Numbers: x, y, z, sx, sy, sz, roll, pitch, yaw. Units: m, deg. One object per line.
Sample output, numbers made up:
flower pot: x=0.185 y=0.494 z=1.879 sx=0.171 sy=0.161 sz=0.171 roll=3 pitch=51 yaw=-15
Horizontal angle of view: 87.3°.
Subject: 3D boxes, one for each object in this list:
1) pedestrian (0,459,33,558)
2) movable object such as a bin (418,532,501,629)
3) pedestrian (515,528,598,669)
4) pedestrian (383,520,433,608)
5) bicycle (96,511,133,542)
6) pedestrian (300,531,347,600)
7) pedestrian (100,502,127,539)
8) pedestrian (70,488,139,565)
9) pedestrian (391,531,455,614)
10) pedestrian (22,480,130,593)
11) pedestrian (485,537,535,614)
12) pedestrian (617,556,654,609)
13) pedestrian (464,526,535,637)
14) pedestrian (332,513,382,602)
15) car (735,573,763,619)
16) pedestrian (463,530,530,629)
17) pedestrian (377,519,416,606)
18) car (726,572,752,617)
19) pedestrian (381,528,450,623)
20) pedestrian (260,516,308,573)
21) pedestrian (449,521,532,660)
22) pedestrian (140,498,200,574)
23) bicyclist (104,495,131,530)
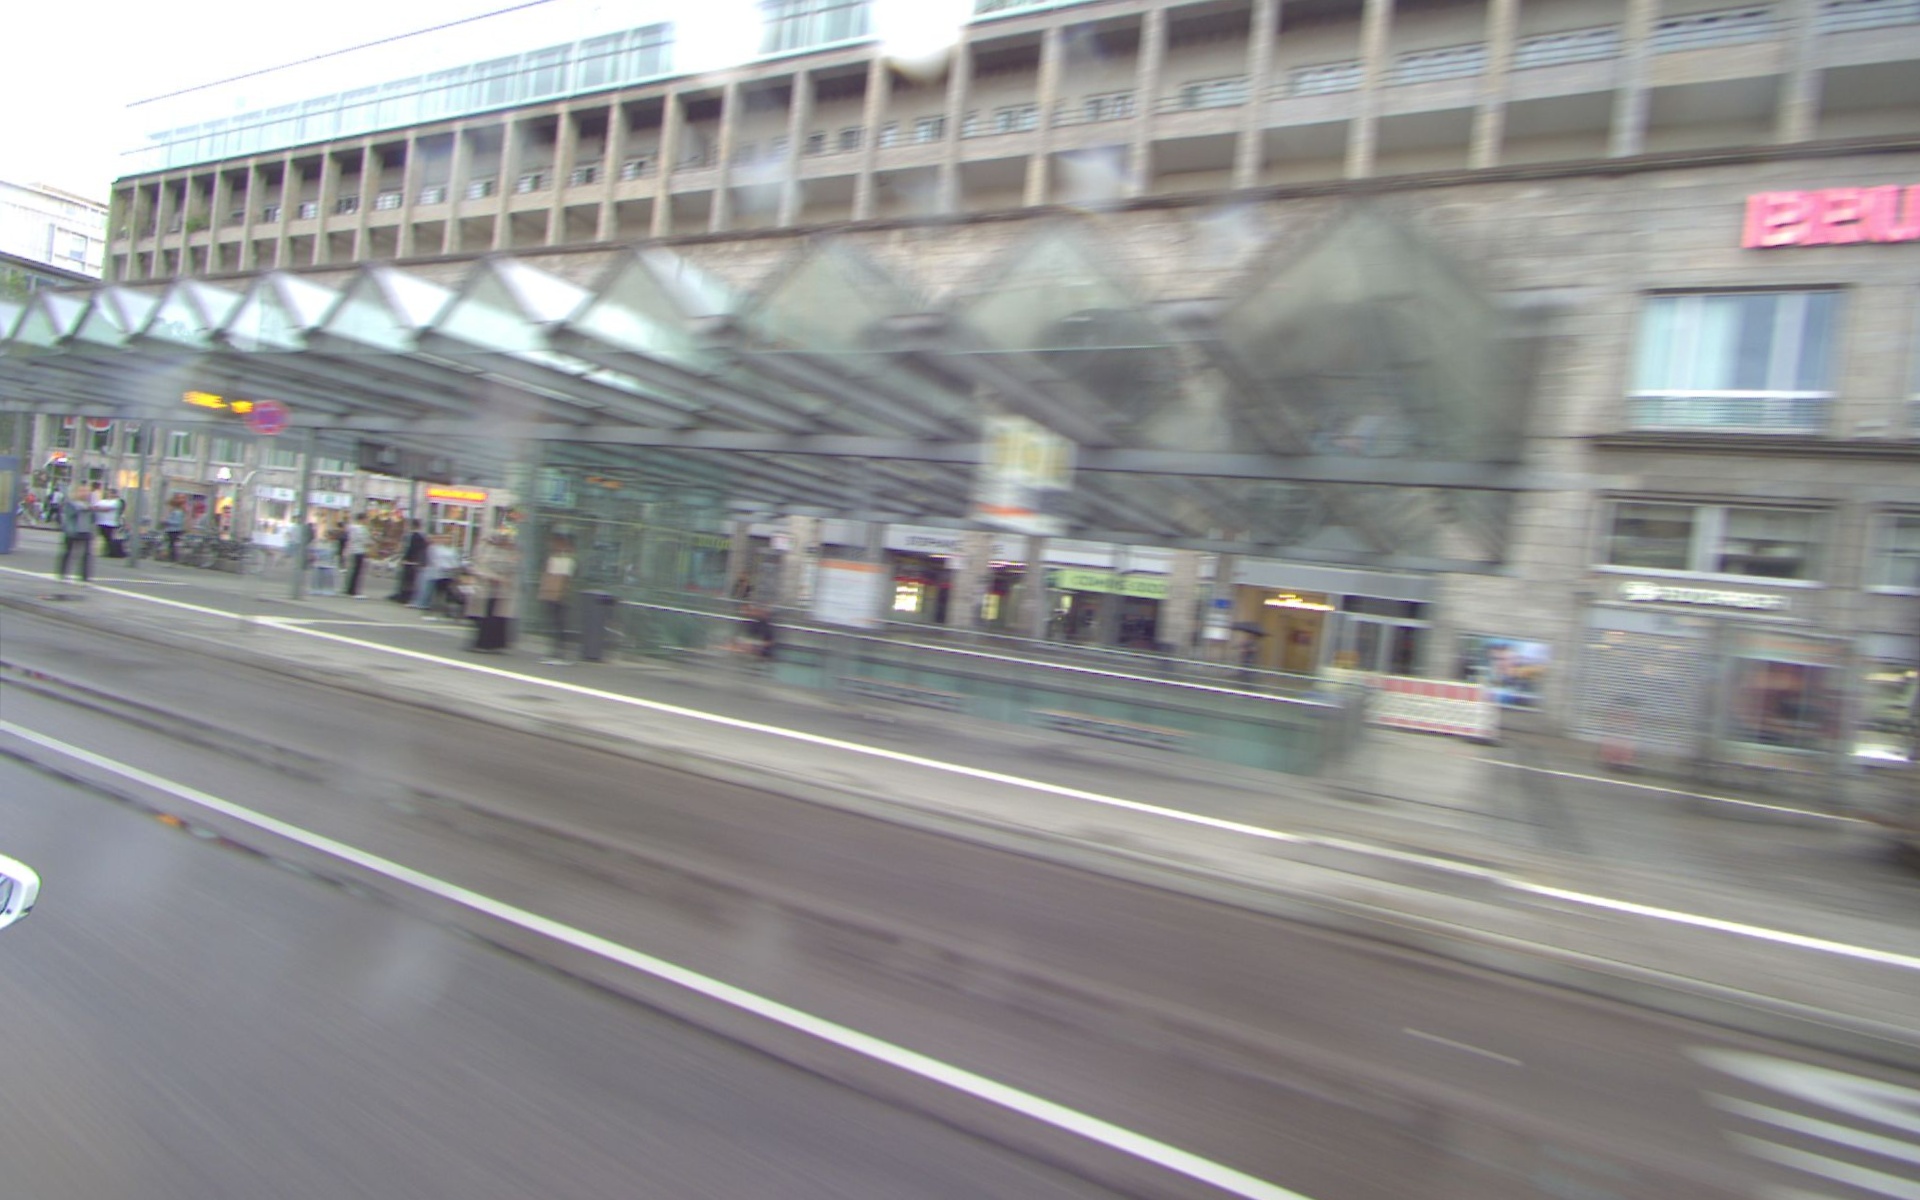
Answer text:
pedestrian: x=-22.349 y=-2.151 z=23.577 sx=0.577 sy=2.242 sz=0.591 roll=7 pitch=1 yaw=29
movable object such as a bin: x=-9.288 y=-0.349 z=18.691 sx=1.029 sy=1.673 sz=0.665 roll=7 pitch=0 yaw=4
pedestrian: x=-5.582 y=-0.015 z=13.935 sx=0.630 sy=1.859 sz=0.628 roll=7 pitch=0 yaw=30
pedestrian: x=-12.211 y=-0.781 z=22.260 sx=0.582 sy=1.853 sz=0.607 roll=7 pitch=0 yaw=-2
bicycle: x=-41.405 y=-3.599 z=49.266 sx=1.978 sy=1.271 sz=0.660 roll=7 pitch=1 yaw=29
pedestrian: x=-13.707 y=-0.731 z=21.681 sx=0.499 sy=1.394 sz=0.553 roll=7 pitch=0 yaw=22
pedestrian: x=-44.336 y=-4.144 z=52.697 sx=0.775 sy=1.815 sz=0.732 roll=7 pitch=1 yaw=27
pedestrian: x=-22.137 y=-1.891 z=26.048 sx=0.974 sy=1.827 sz=0.788 roll=6 pitch=1 yaw=-1
pedestrian: x=-11.442 y=-0.578 z=21.431 sx=0.748 sy=1.628 sz=0.752 roll=7 pitch=0 yaw=22
pedestrian: x=-14.667 y=-1.040 z=16.716 sx=0.980 sy=1.711 sz=0.762 roll=7 pitch=0 yaw=6
pedestrian: x=-11.423 y=-0.608 z=25.537 sx=0.739 sy=1.853 sz=0.761 roll=7 pitch=0 yaw=-2
pedestrian: x=-11.296 y=-0.618 z=35.030 sx=0.740 sy=1.731 sz=0.761 roll=7 pitch=0 yaw=28
pedestrian: x=-8.172 y=-0.331 z=17.866 sx=0.751 sy=1.859 sz=0.749 roll=7 pitch=1 yaw=43
pedestrian: x=-13.334 y=-0.937 z=22.255 sx=0.615 sy=1.882 sz=0.607 roll=7 pitch=1 yaw=36
car: x=-7.524 y=-0.149 z=35.828 sx=0.558 sy=1.557 sz=0.590 roll=6 pitch=0 yaw=30
pedestrian: x=-9.319 y=-0.402 z=20.238 sx=0.748 sy=1.871 sz=0.752 roll=7 pitch=0 yaw=24
pedestrian: x=-12.883 y=-0.859 z=23.020 sx=0.591 sy=1.897 sz=0.587 roll=6 pitch=1 yaw=-28
car: x=-7.970 y=-0.189 z=36.291 sx=0.463 sy=1.557 sz=0.590 roll=6 pitch=0 yaw=30
pedestrian: x=-10.137 y=-0.435 z=18.745 sx=0.667 sy=1.675 sz=0.762 roll=7 pitch=0 yaw=4
pedestrian: x=-21.781 y=-1.775 z=32.429 sx=0.974 sy=1.716 sz=0.853 roll=7 pitch=0 yaw=-22
pedestrian: x=-6.615 y=-0.120 z=14.184 sx=0.564 sy=1.859 sz=0.677 roll=7 pitch=0 yaw=29
pedestrian: x=-19.304 y=-1.551 z=24.583 sx=0.886 sy=1.716 sz=0.749 roll=7 pitch=0 yaw=30
bicyclist: x=-41.205 y=-4.275 z=49.182 sx=0.892 sy=1.574 sz=0.650 roll=6 pitch=1 yaw=29
